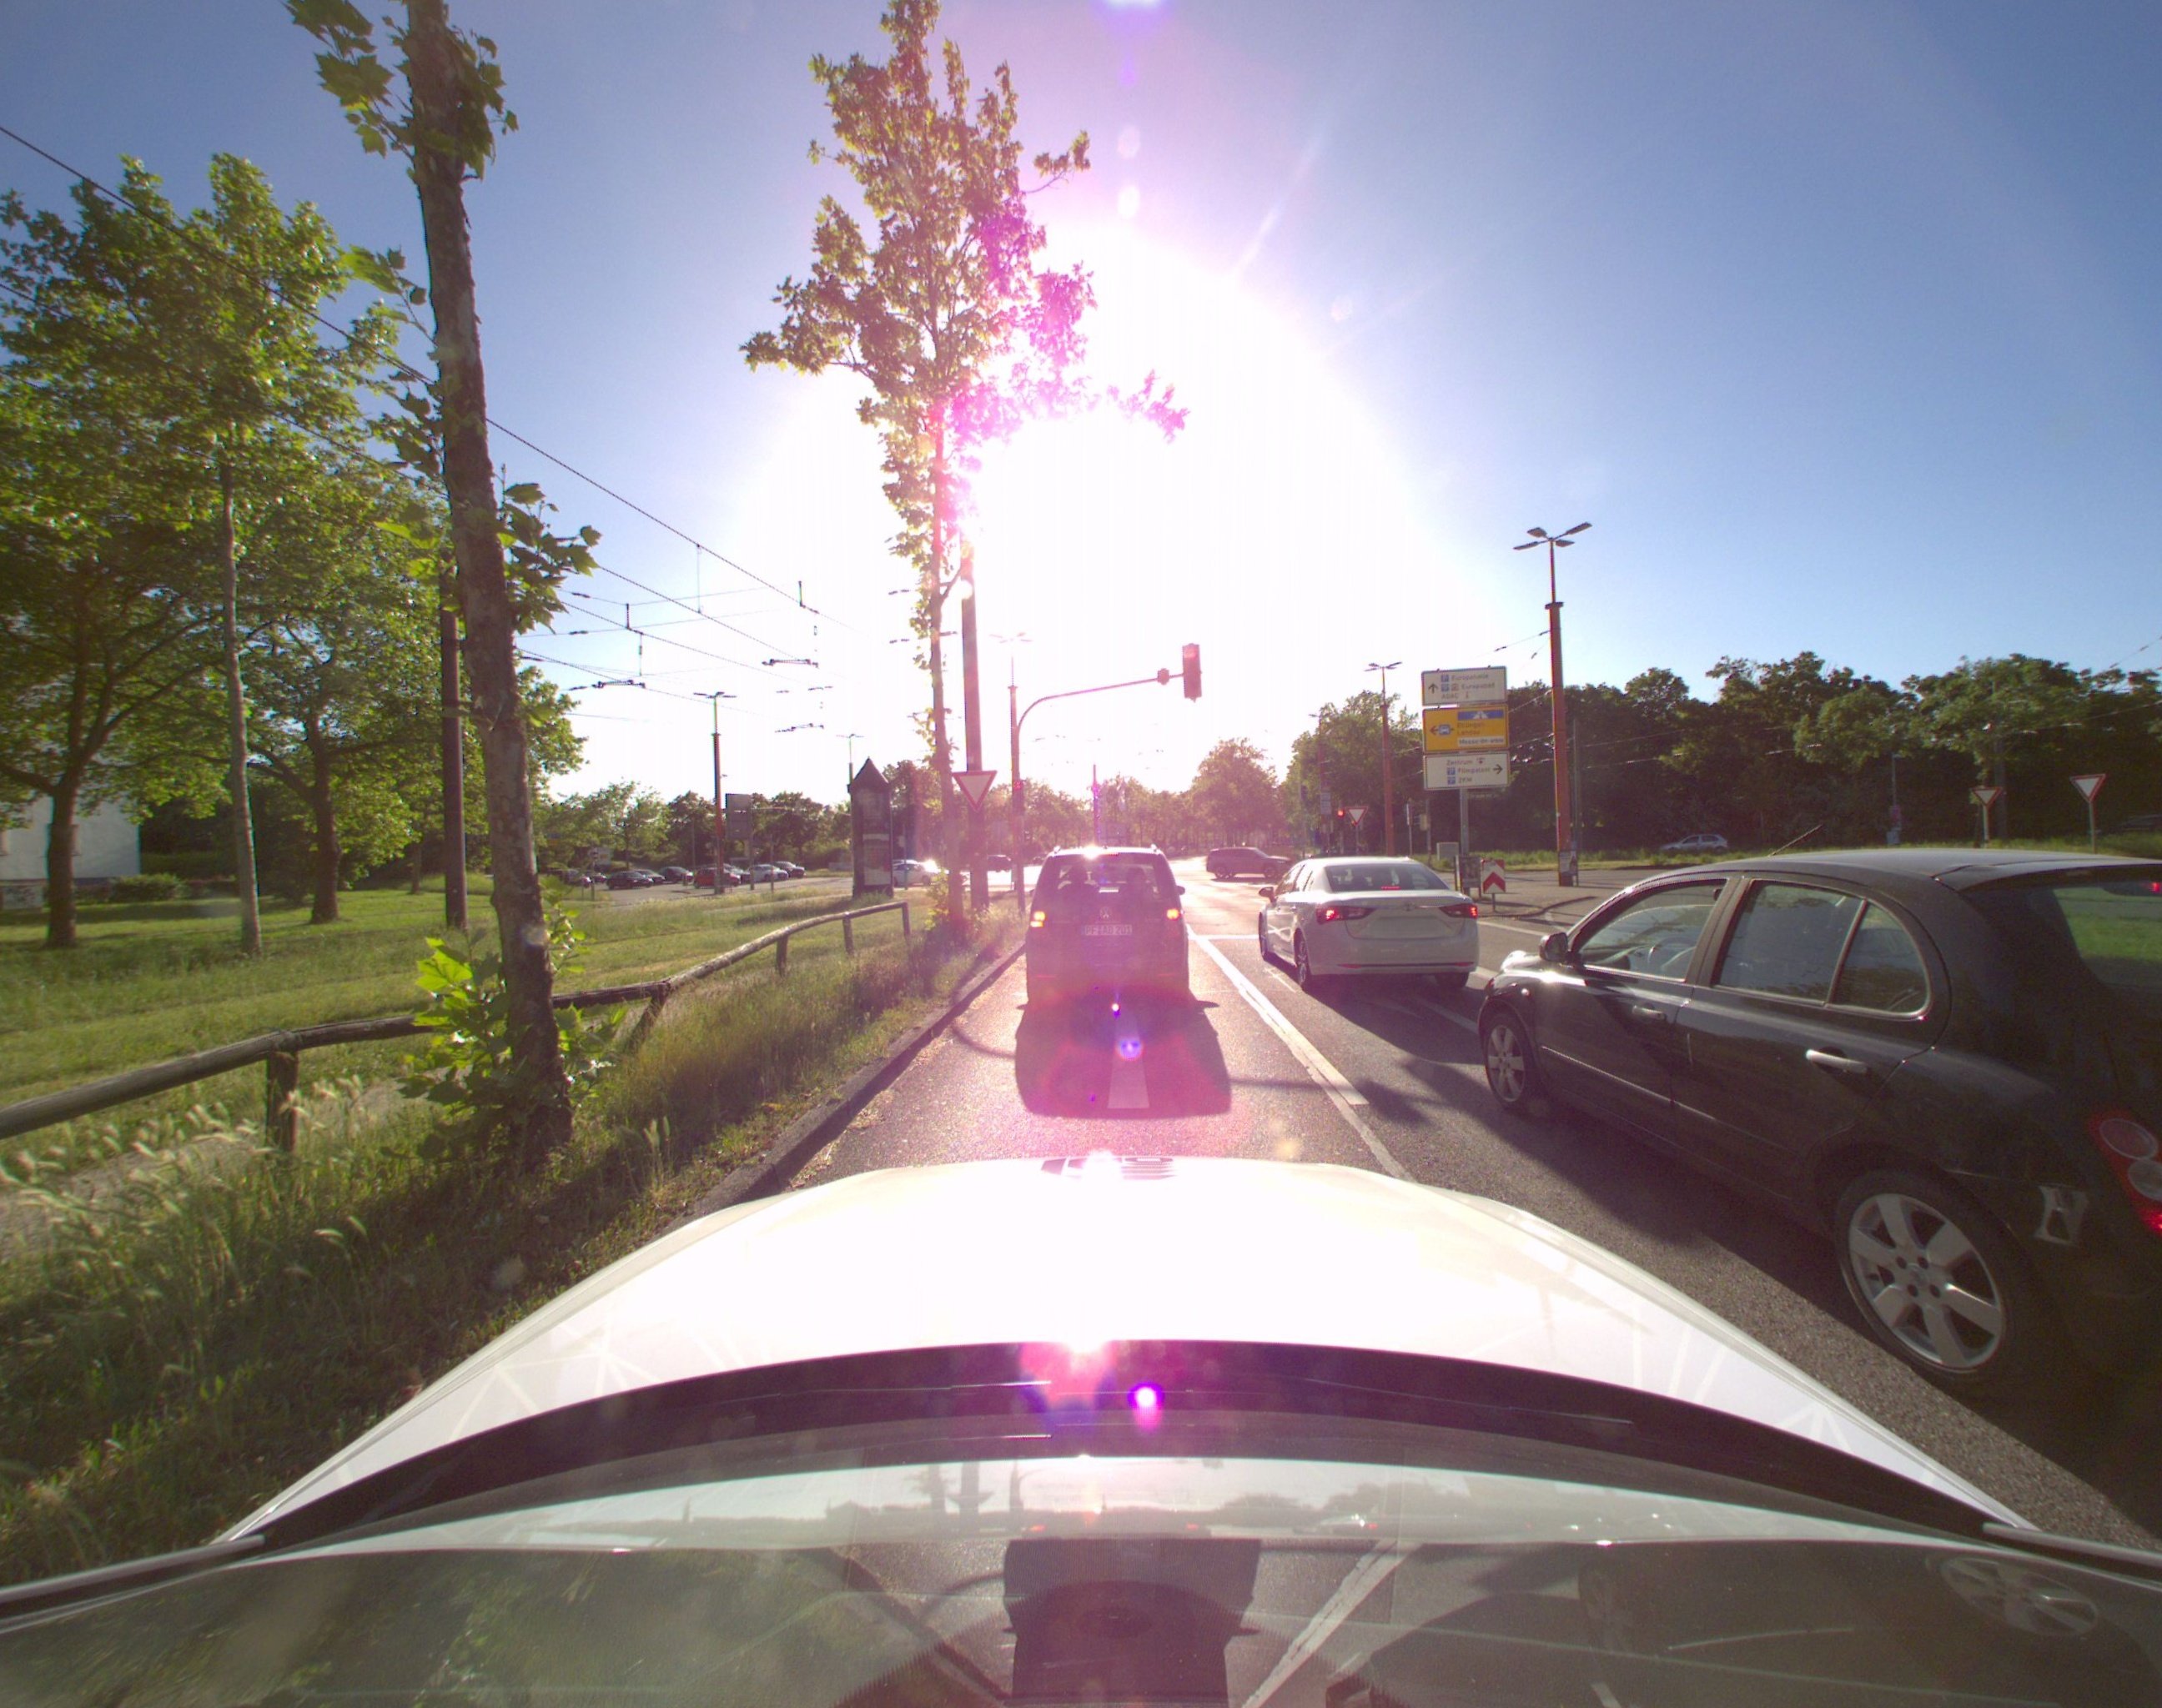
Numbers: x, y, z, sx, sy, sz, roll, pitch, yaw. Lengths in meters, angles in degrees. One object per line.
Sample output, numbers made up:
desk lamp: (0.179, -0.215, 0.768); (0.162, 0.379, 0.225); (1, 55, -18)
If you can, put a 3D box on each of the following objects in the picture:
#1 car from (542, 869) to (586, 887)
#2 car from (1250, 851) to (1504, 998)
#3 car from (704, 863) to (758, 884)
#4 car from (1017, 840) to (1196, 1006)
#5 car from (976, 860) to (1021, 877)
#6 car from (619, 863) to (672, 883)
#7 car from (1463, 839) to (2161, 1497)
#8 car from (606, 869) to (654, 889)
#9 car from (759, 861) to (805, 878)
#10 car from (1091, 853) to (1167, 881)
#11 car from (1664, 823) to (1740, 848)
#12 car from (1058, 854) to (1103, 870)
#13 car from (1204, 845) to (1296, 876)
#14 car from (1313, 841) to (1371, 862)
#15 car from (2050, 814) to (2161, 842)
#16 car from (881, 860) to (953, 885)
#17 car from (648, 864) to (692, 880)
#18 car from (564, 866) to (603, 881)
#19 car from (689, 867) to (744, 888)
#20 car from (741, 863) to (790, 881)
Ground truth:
car: (-46.048, 2.152, 72.473); (4.145, 1.520, 1.667); (-1, 0, 32)
car: (3.364, 0.709, 10.191); (1.792, 1.440, 4.329); (0, 0, 3)
car: (-28.760, 1.579, 66.887); (4.583, 1.647, 1.767); (-1, 0, 32)
car: (0.358, 0.690, 10.086); (1.731, 1.602, 4.329); (0, -1, 3)
car: (-7.600, 1.380, 75.290); (3.757, 1.510, 1.666); (-1, 0, 25)
car: (-39.159, 1.705, 73.200); (4.585, 1.647, 1.767); (-1, 0, 26)
car: (3.171, 0.695, 3.492); (1.570, 1.440, 3.443); (0, -1, 2)
car: (-37.665, 2.086, 67.968); (4.145, 1.520, 1.667); (-1, 0, 32)
car: (-26.739, 1.383, 72.814); (4.102, 1.415, 1.553); (-1, 0, 28)
car: (2.611, 0.702, 44.389); (3.793, 1.441, 1.667); (-1, 0, 29)
car: (40.645, -1.170, 53.405); (3.755, 1.510, 1.667); (-1, 0, 30)
car: (-0.023, 0.765, 76.249); (3.877, 1.457, 1.667); (-1, 0, 28)
car: (9.215, 0.359, 44.514); (4.583, 1.647, 1.667); (-1, 0, 32)
car: (20.624, -0.187, 64.416); (4.095, 1.510, 1.667); (-1, 0, 30)
car: (55.723, -1.409, 44.169); (3.758, 1.403, 1.665); (-1, 0, 22)
car: (-10.442, 1.163, 51.885); (4.577, 1.520, 1.667); (-1, 0, 32)
car: (-38.206, 1.669, 75.709); (4.102, 1.415, 1.553); (-1, 0, 28)
car: (-50.340, 2.000, 82.371); (4.102, 1.415, 1.553); (-1, 0, 28)
car: (-27.547, 1.783, 61.518); (4.145, 1.520, 1.667); (-1, 0, 32)
car: (-26.842, 1.524, 69.189); (4.102, 1.415, 1.553); (-1, 0, 28)
